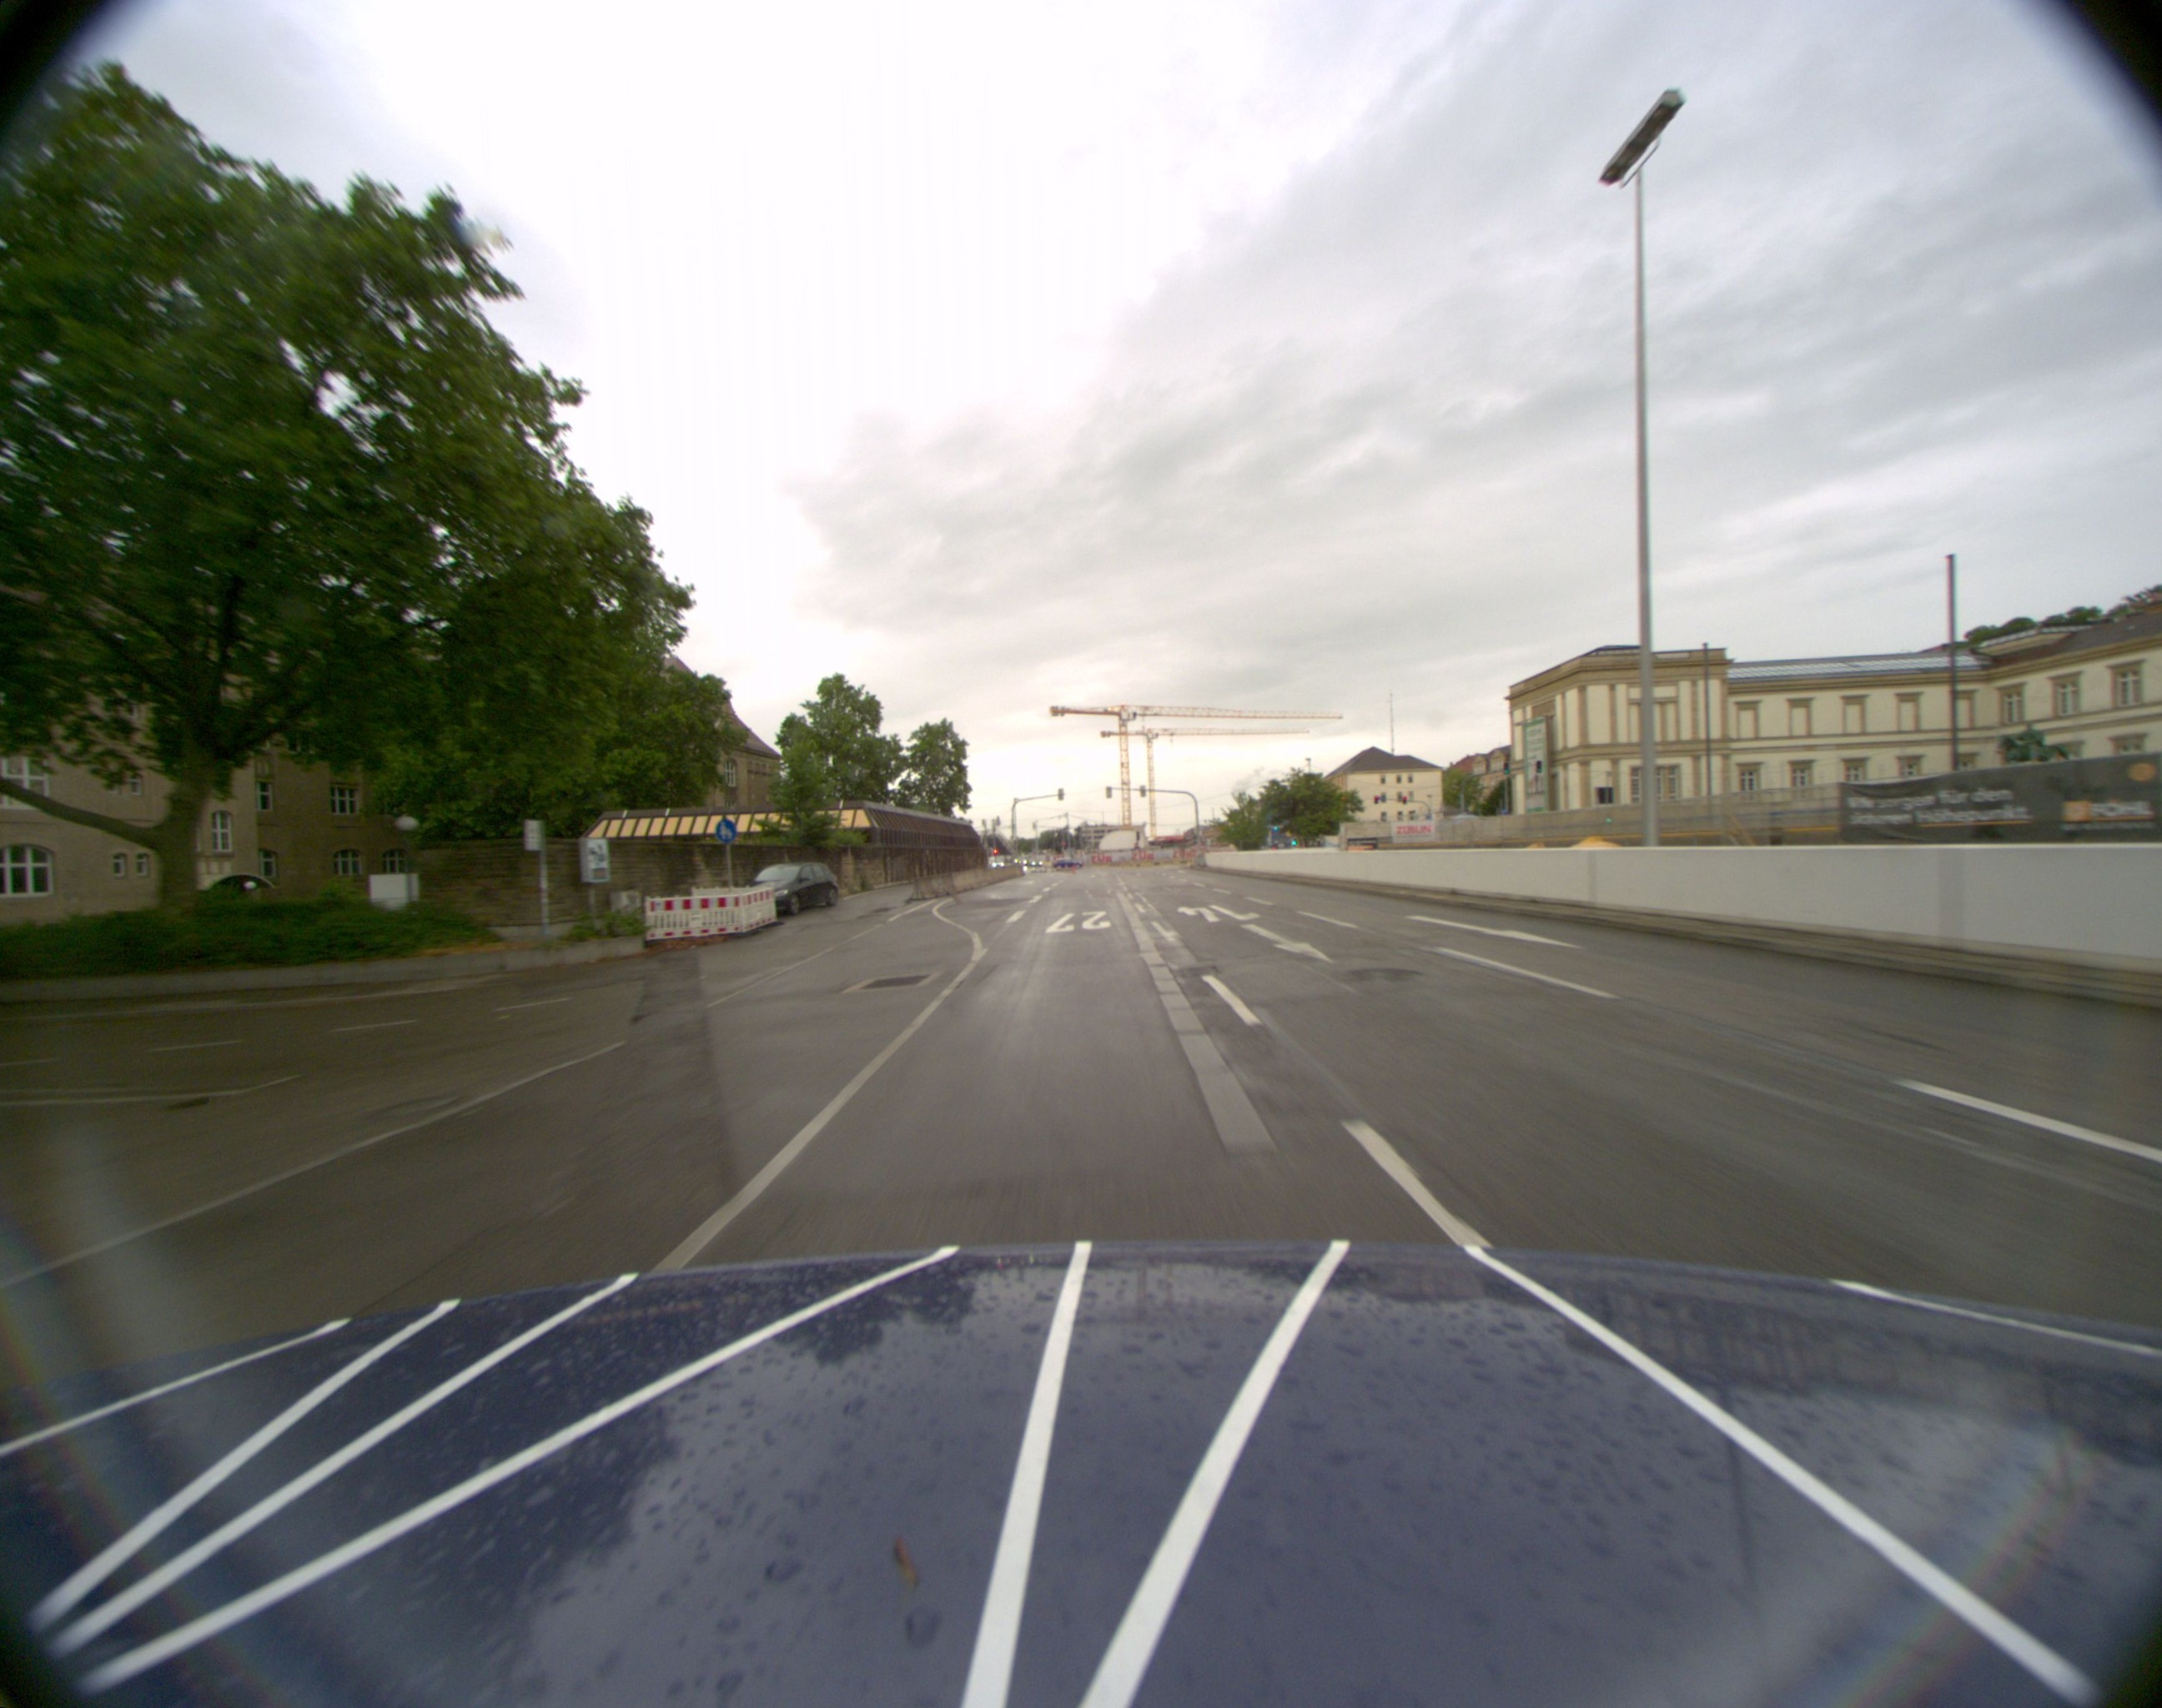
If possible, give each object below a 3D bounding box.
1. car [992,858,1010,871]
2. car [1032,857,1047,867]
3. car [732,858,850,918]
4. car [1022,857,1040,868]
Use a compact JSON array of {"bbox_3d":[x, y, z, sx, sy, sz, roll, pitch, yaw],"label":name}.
[{"bbox_3d":[-13.983,1.835,132.364,2.001,2.002,4.417,-4,0,-19],"label":"car"},{"bbox_3d":[-7.377,1.491,134.036,1.862,1.556,3.797,-5,0,-15],"label":"car"},{"bbox_3d":[-9.294,1.013,24.790,1.808,1.543,4.326,1,3,6],"label":"car"},{"bbox_3d":[-9.237,1.572,139.510,2.001,1.707,4.417,-4,0,-19],"label":"car"}]
